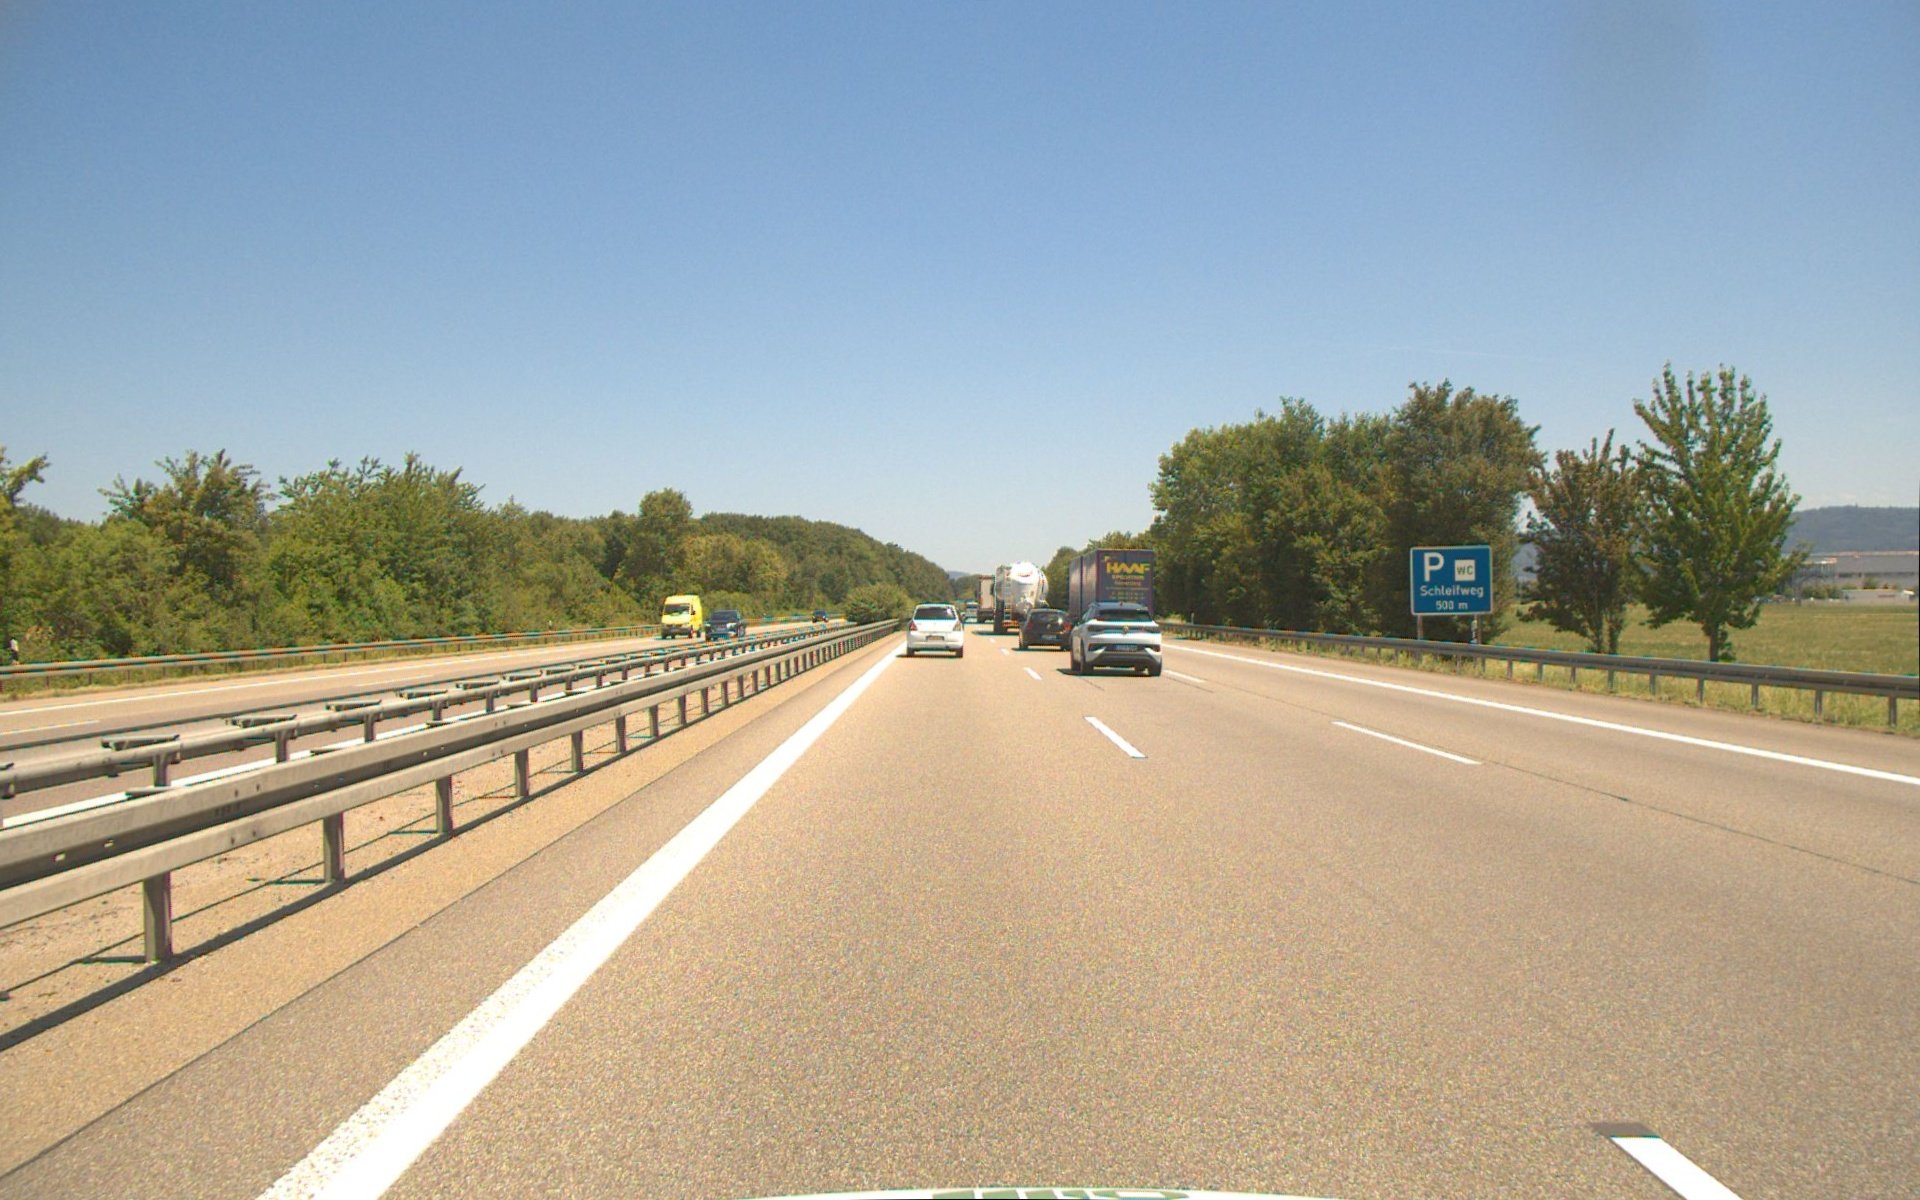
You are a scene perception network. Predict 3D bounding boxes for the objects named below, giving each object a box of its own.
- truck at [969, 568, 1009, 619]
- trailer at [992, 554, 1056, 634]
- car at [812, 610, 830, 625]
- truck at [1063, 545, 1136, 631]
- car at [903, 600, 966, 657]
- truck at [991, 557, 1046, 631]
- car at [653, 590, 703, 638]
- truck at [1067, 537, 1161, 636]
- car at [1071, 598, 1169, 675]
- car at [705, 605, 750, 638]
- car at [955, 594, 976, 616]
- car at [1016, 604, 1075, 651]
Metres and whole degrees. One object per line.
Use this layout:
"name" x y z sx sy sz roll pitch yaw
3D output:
"truck" 2.545 -0.563 149.491 3.325 4.287 12.083 1 0 0
"trailer" 3.458 -0.305 92.692 2.852 4.140 12.415 1 0 -1
"car" -17.075 2.108 203.456 1.885 1.747 4.287 -1 0 0
"truck" 7.149 -0.600 85.821 3.045 4.211 8.056 1 0 0
"car" -0.769 0.818 48.959 1.763 1.579 3.609 1 0 -1
"truck" 3.382 -0.337 97.078 2.852 4.150 7.194 1 0 -1
"car" -17.608 0.866 103.505 2.121 2.828 5.799 -2 0 -1
"truck" 7.118 -0.575 78.949 3.045 4.211 15.510 1 0 0
"car" 3.650 0.799 38.352 1.765 1.631 4.380 1 0 -1
"car" -12.686 1.152 90.420 1.830 1.719 4.625 -2 0 -1
"car" 0.653 0.595 191.456 2.424 2.395 5.181 1 0 0
"car" 2.964 0.931 58.260 1.813 1.549 3.956 1 0 -1
